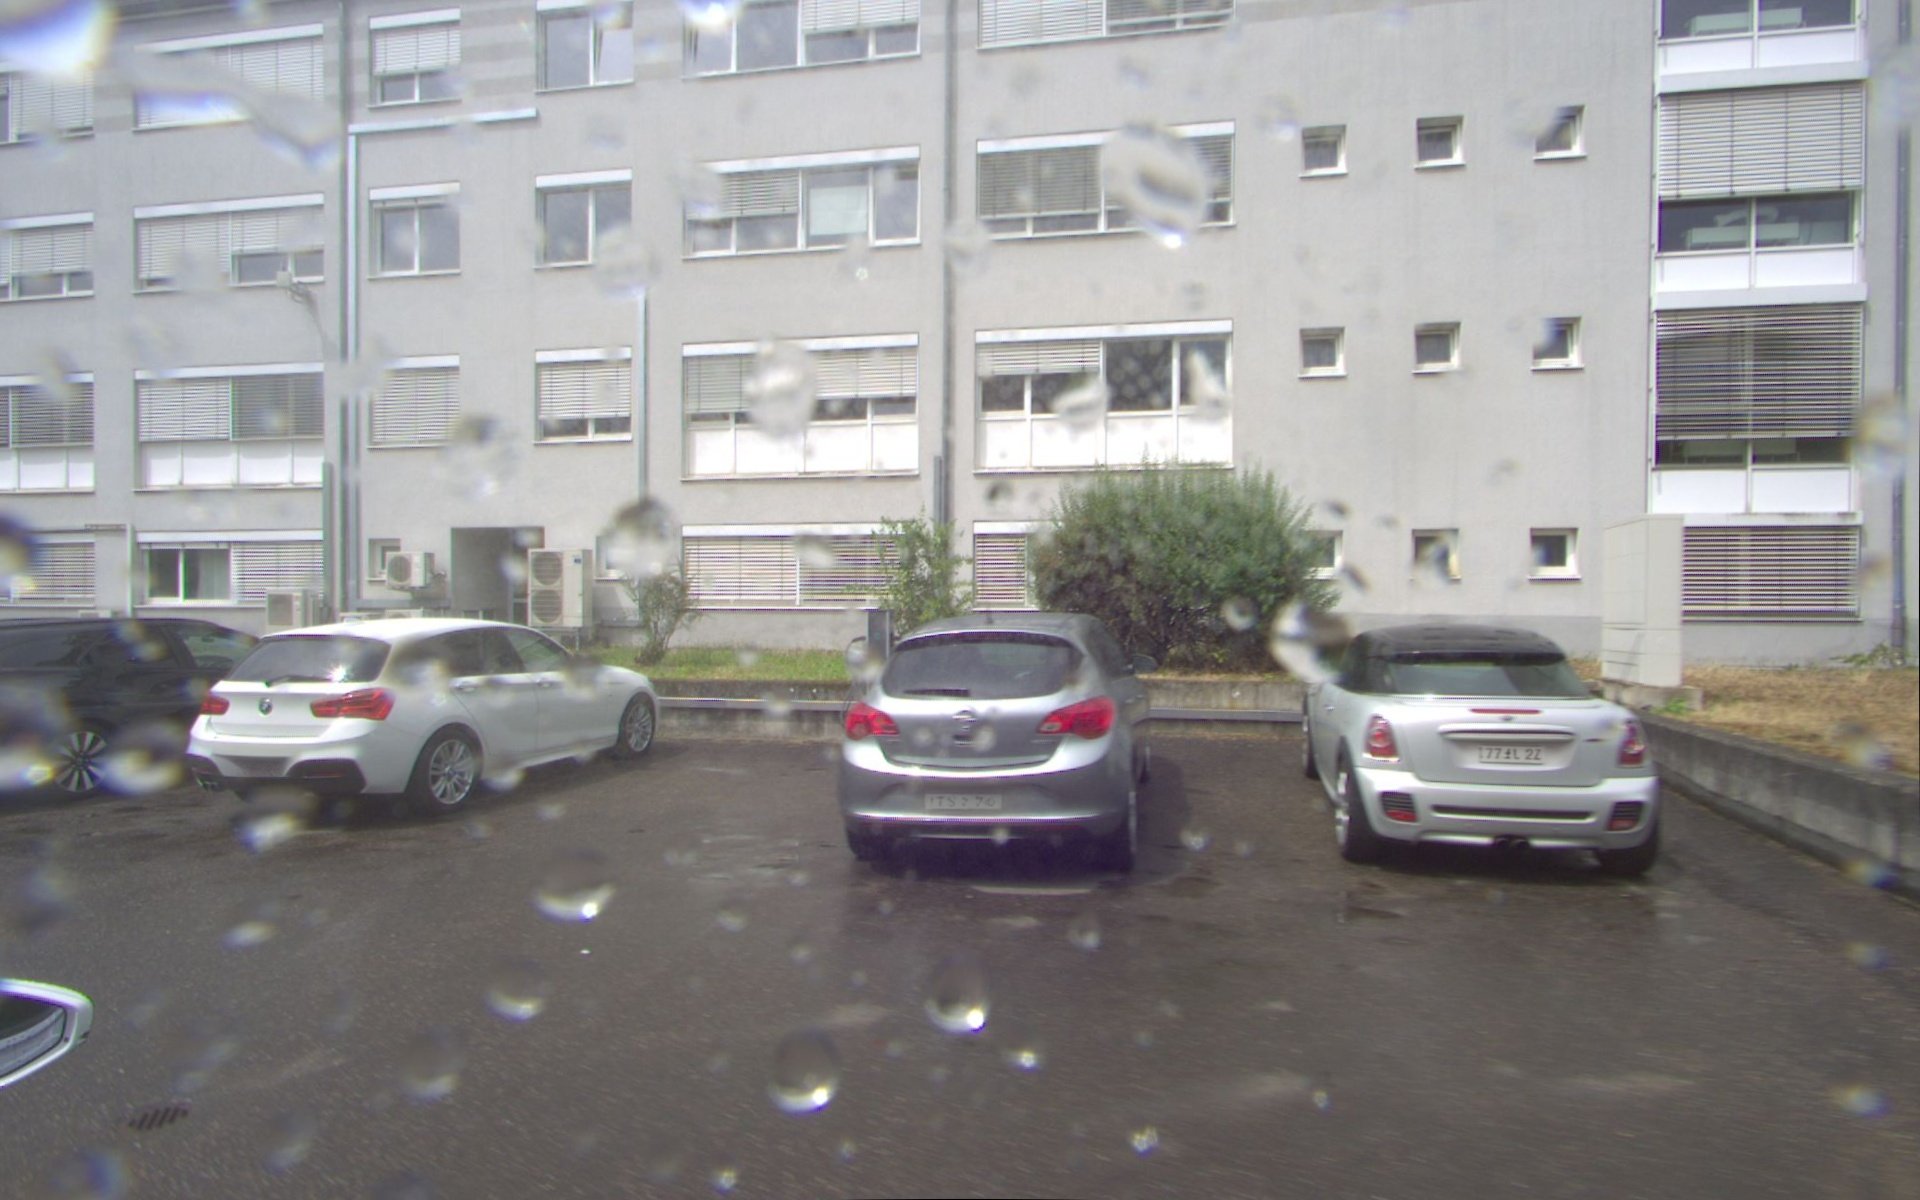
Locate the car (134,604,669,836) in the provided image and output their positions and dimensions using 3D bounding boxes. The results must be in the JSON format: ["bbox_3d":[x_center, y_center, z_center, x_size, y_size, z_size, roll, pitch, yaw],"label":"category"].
[{"bbox_3d":[-4.380,0.793,8.728,1.798,1.475,4.107,0,0,12],"label":"car"}]

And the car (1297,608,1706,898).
[{"bbox_3d":[3.501,0.807,7.304,1.758,1.373,3.993,0,1,16],"label":"car"}]

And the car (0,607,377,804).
[{"bbox_3d":[-7.761,0.801,9.194,1.902,1.420,4.181,0,0,10],"label":"car"}]

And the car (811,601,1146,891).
[{"bbox_3d":[0.438,0.761,7.284,1.637,1.477,4.089,-1,0,13],"label":"car"}]

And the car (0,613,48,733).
[{"bbox_3d":[-12.203,0.833,10.009,1.825,1.366,4.365,1,0,10],"label":"car"}]
